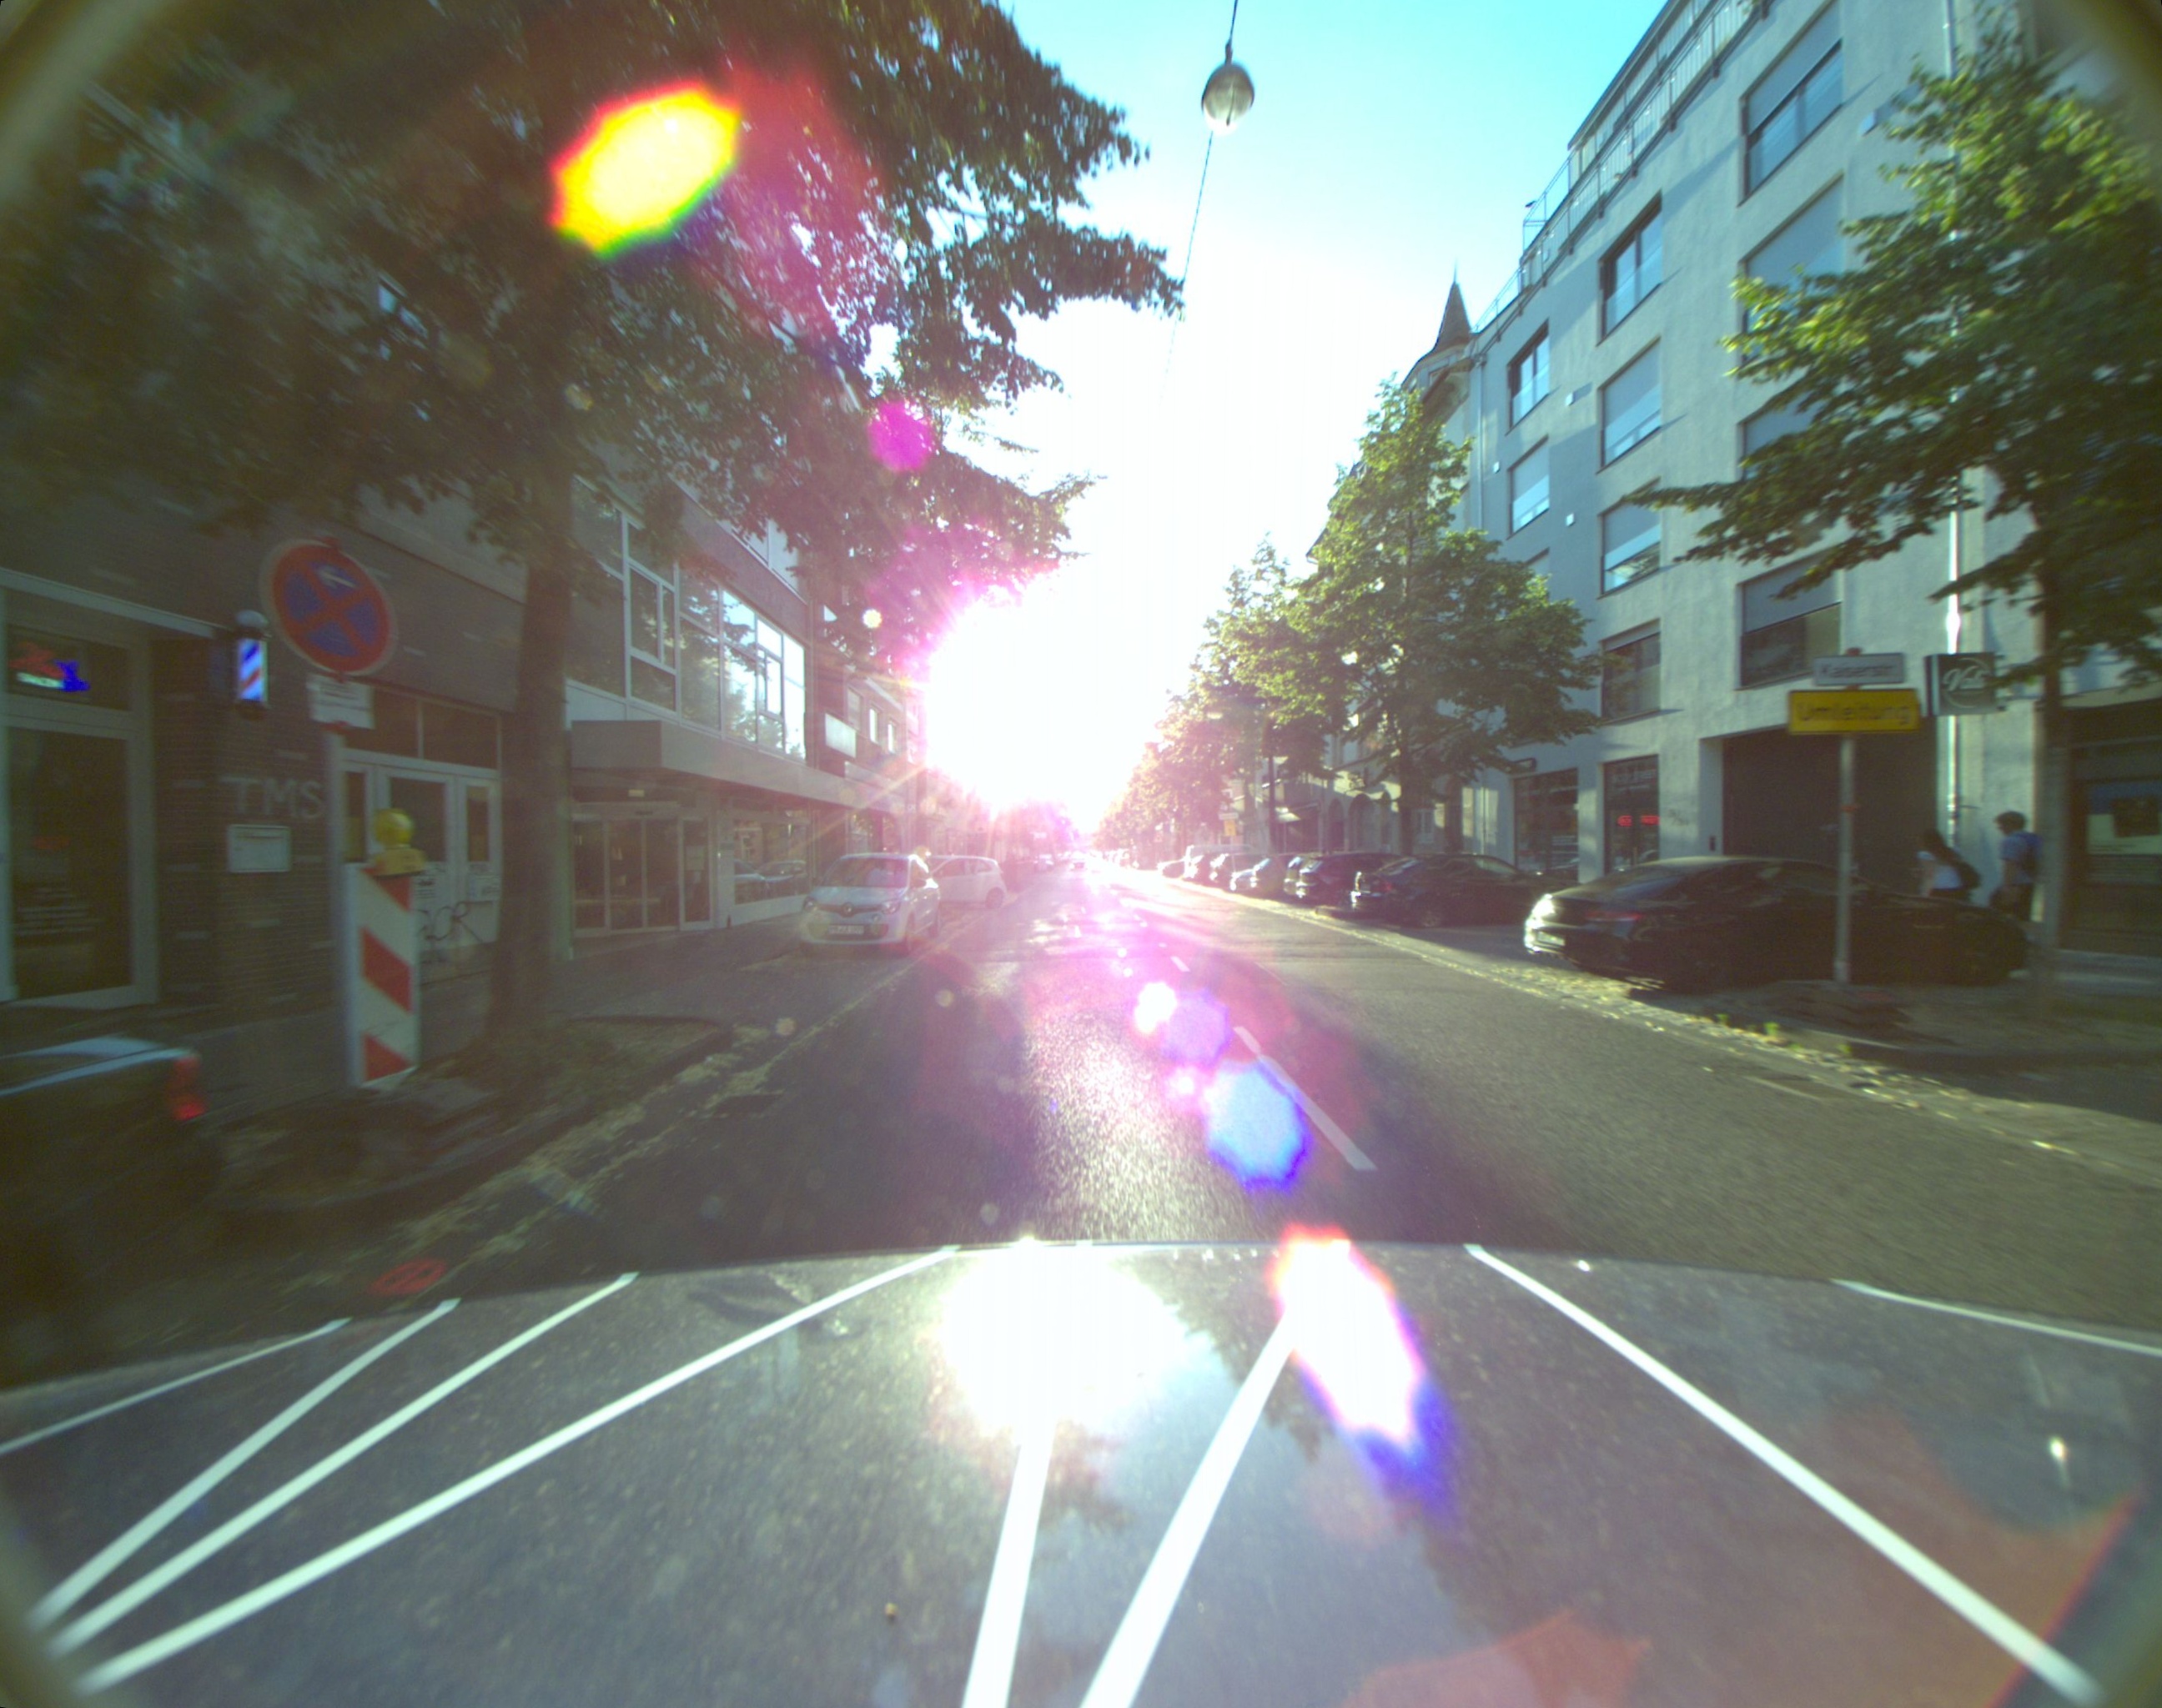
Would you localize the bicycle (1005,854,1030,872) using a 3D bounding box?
[{"bbox_3d":[-4.817,0.695,57.333,1.831,1.335,0.405,-1,1,-13],"label":"bicycle"}]

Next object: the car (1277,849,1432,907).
[{"bbox_3d":[7.930,0.664,22.220,3.877,1.558,1.744,-1,1,-2],"label":"car"}]

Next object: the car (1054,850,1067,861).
[{"bbox_3d":[-3.148,0.201,117.704,1.825,1.658,4.154,-1,1,1],"label":"car"}]

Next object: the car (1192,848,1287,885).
[{"bbox_3d":[7.522,0.566,36.352,4.193,1.659,1.732,-1,1,2],"label":"car"}]

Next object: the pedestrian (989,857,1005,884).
[{"bbox_3d":[-4.121,0.827,37.418,0.687,1.298,0.648,1,1,1],"label":"pedestrian"}]

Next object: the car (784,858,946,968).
[{"bbox_3d":[-3.423,0.857,12.713,1.695,1.534,3.552,1,0,-1],"label":"car"}]

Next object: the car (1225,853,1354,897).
[{"bbox_3d":[7.377,0.724,27.095,4.052,1.379,1.744,-2,0,-4],"label":"car"}]

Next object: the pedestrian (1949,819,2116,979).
[{"bbox_3d":[11.042,0.496,8.858,0.721,1.739,0.933,-3,1,0],"label":"pedestrian"}]

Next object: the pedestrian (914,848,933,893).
[{"bbox_3d":[-6.211,0.642,29.993,0.607,1.729,0.668,-1,1,0],"label":"pedestrian"}]

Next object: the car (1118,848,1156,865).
[{"bbox_3d":[6.676,0.276,90.744,4.439,1.832,1.814,-2,1,-1],"label":"car"}]

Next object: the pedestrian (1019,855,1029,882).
[{"bbox_3d":[-3.094,0.786,41.156,0.448,1.472,0.547,1,1,1],"label":"pedestrian"}]

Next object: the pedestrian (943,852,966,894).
[{"bbox_3d":[-4.934,0.738,29.644,0.748,1.622,0.855,-1,1,0],"label":"pedestrian"}]

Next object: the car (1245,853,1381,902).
[{"bbox_3d":[7.509,0.729,24.802,3.877,1.448,1.744,-1,1,-2],"label":"car"}]

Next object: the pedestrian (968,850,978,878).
[{"bbox_3d":[-6.474,0.587,45.477,0.493,1.615,0.573,1,1,1],"label":"pedestrian"}]

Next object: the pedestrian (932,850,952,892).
[{"bbox_3d":[-5.494,0.665,30.055,0.607,1.622,0.668,-1,1,0],"label":"pedestrian"}]

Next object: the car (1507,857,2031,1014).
[{"bbox_3d":[7.401,0.825,8.506,4.285,1.475,1.744,-1,1,0],"label":"car"}]

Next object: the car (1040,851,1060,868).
[{"bbox_3d":[-3.267,0.594,80.925,1.825,1.658,4.154,-1,1,1],"label":"car"}]

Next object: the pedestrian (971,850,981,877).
[{"bbox_3d":[-6.466,0.584,46.645,0.493,1.615,0.573,1,1,1],"label":"pedestrian"}]

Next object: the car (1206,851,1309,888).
[{"bbox_3d":[7.883,0.667,34.140,4.194,1.434,1.732,-2,1,0],"label":"car"}]

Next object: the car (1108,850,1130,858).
[{"bbox_3d":[7.509,0.002,149.860,4.152,1.469,1.826,-1,1,0],"label":"car"}]

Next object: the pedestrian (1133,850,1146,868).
[{"bbox_3d":[5.569,0.447,72.083,0.898,1.671,0.795,-1,1,-37],"label":"pedestrian"}]

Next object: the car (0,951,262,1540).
[{"bbox_3d":[-3.594,1.011,0.256,1.957,1.382,4.423,1,0,-3],"label":"car"}]

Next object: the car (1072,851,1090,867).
[{"bbox_3d":[0.031,0.482,77.173,1.825,1.469,4.154,-1,1,1],"label":"car"}]

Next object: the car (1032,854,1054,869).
[{"bbox_3d":[-3.622,0.711,72.716,1.825,1.344,4.154,-1,1,1],"label":"car"}]

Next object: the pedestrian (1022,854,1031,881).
[{"bbox_3d":[-3.023,0.768,42.287,0.448,1.472,0.563,1,1,1],"label":"pedestrian"}]

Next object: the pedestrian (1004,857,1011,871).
[{"bbox_3d":[-6.203,0.837,64.229,0.551,1.128,0.648,1,1,1],"label":"pedestrian"}]

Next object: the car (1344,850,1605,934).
[{"bbox_3d":[7.688,0.703,15.091,4.286,1.475,1.744,-1,1,-2],"label":"car"}]

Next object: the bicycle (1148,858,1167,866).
[{"bbox_3d":[7.511,0.837,74.942,1.796,0.761,0.408,-1,1,12],"label":"bicycle"}]

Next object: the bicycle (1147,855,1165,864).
[{"bbox_3d":[7.497,0.589,76.293,1.801,0.858,0.444,-1,1,-24],"label":"bicycle"}]

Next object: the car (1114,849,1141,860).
[{"bbox_3d":[7.247,0.071,119.606,4.152,1.771,1.826,-1,1,-1],"label":"car"}]

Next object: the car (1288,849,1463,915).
[{"bbox_3d":[7.599,0.702,19.827,3.877,1.558,1.744,-1,1,-2],"label":"car"}]

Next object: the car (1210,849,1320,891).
[{"bbox_3d":[7.538,0.650,31.460,4.192,1.528,1.744,-2,1,5],"label":"car"}]

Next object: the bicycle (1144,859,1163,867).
[{"bbox_3d":[7.037,0.873,73.934,1.796,0.761,0.408,-1,1,12],"label":"bicycle"}]

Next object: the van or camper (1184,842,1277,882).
[{"bbox_3d":[7.682,0.399,39.341,4.469,1.945,1.789,-1,1,1],"label":"van or camper"}]

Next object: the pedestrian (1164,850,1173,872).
[{"bbox_3d":[6.539,0.498,56.824,0.550,1.638,0.721,-1,1,3],"label":"pedestrian"}]

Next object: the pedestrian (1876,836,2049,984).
[{"bbox_3d":[10.297,0.617,8.928,0.721,1.593,1.094,-3,1,0],"label":"pedestrian"}]

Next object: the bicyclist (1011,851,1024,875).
[{"bbox_3d":[-4.812,0.668,57.331,0.872,1.783,0.536,-1,1,-14],"label":"bicyclist"}]

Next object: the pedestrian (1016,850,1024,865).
[{"bbox_3d":[-6.396,0.357,80.048,0.719,1.565,0.756,1,1,1],"label":"pedestrian"}]

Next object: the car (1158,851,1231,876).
[{"bbox_3d":[7.380,0.601,49.744,4.439,1.516,1.814,-2,1,-1],"label":"car"}]

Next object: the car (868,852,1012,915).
[{"bbox_3d":[-3.806,0.787,20.941,1.661,1.574,3.632,1,-1,41],"label":"car"}]
